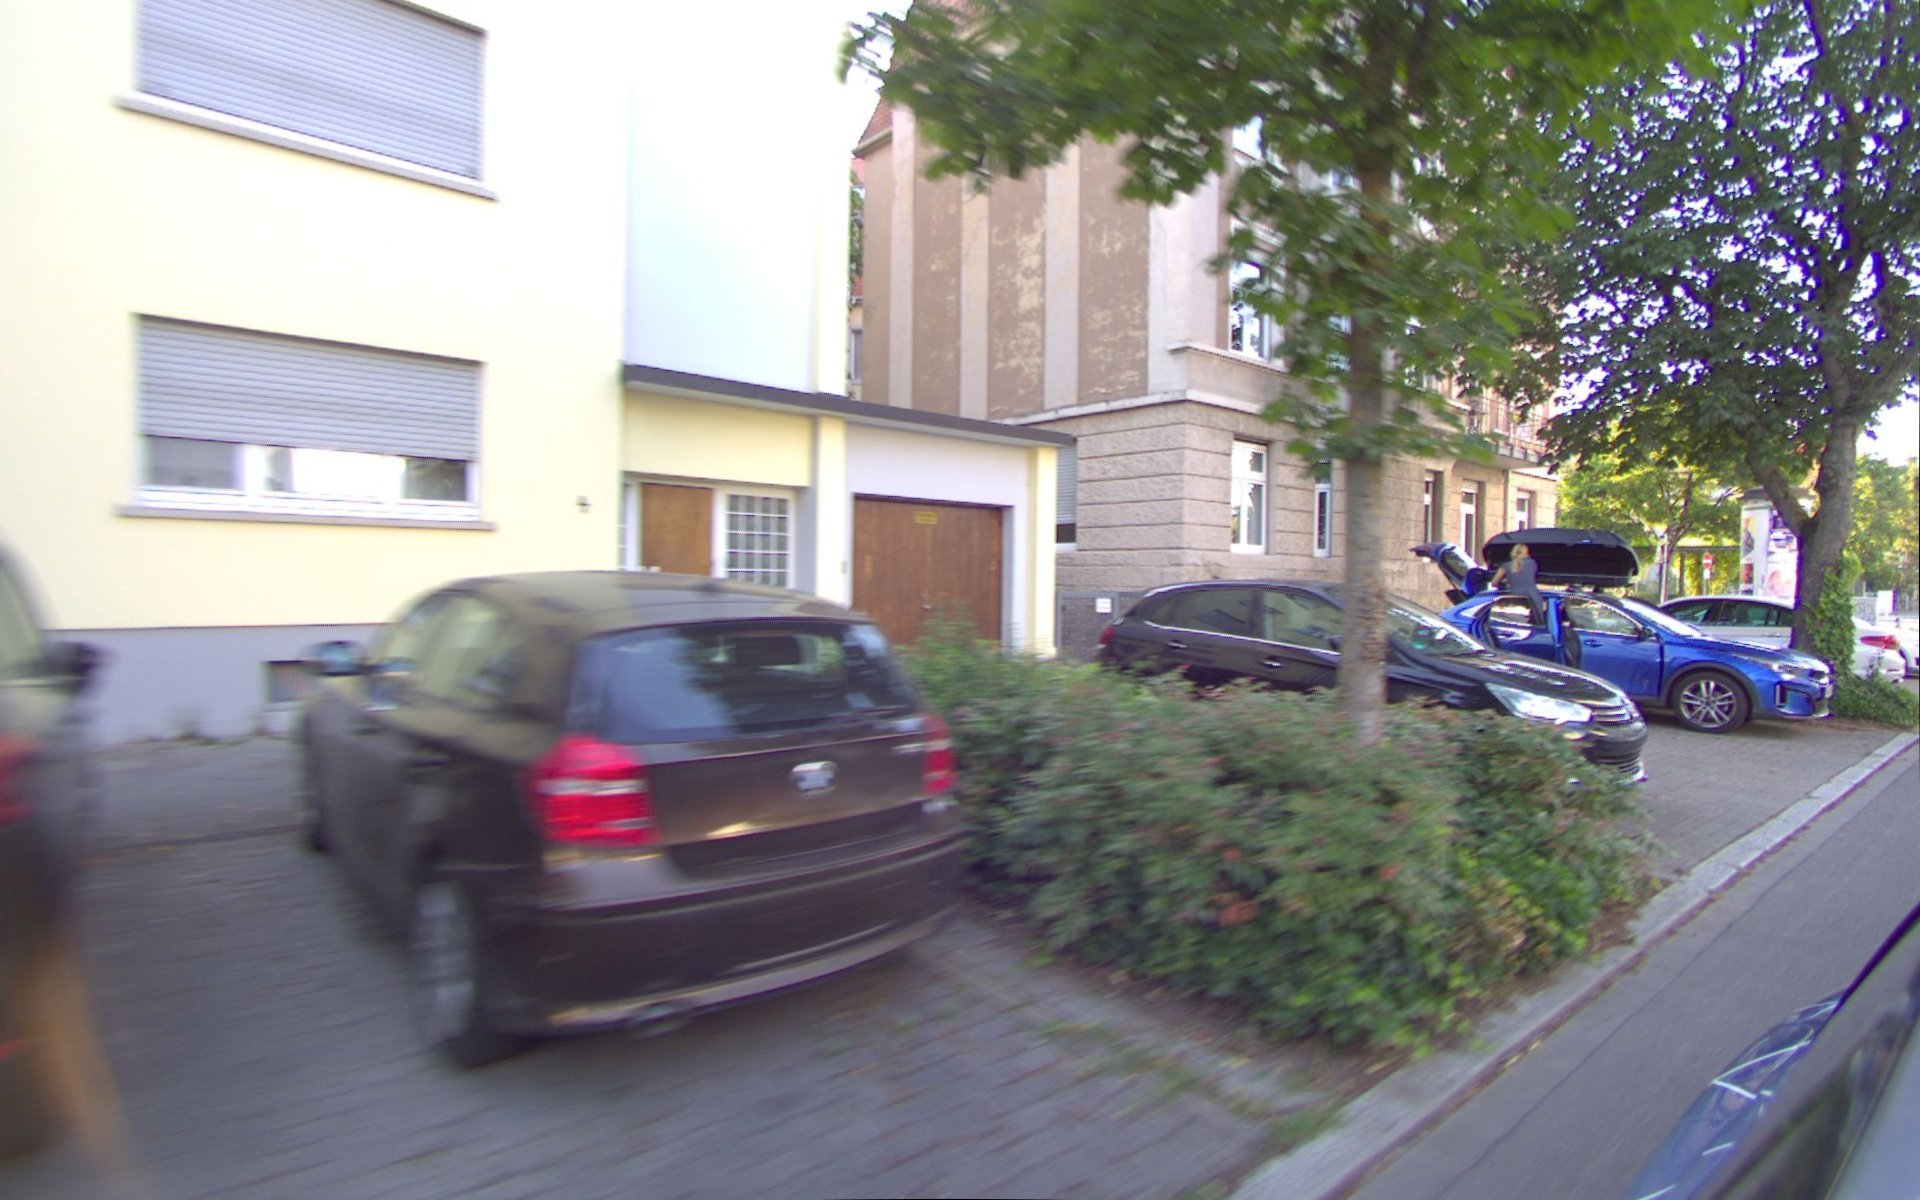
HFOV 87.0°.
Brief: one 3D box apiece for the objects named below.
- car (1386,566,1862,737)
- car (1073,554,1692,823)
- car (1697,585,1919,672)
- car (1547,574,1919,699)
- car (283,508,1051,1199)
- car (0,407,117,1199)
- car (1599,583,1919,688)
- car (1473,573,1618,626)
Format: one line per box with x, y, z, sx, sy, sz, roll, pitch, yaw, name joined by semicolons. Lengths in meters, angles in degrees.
7.869;0.449;12.385;1.842;1.661;4.534;0;2;-41;car
3.104;0.455;8.138;1.842;1.577;4.198;1;1;-41;car
17.531;0.513;20.369;1.830;1.524;4.055;0;2;-41;car
11.992;0.458;15.848;4.478;1.544;1.923;4;2;44;car
-1.616;0.521;4.310;1.695;1.577;3.934;1;1;-40;car
-3.473;0.426;2.787;1.694;1.674;3.556;0;2;-39;car
13.723;0.510;17.567;1.644;1.465;4.150;0;3;-41;car
20.702;-0.039;35.902;1.781;1.763;4.079;2;0;-43;car
